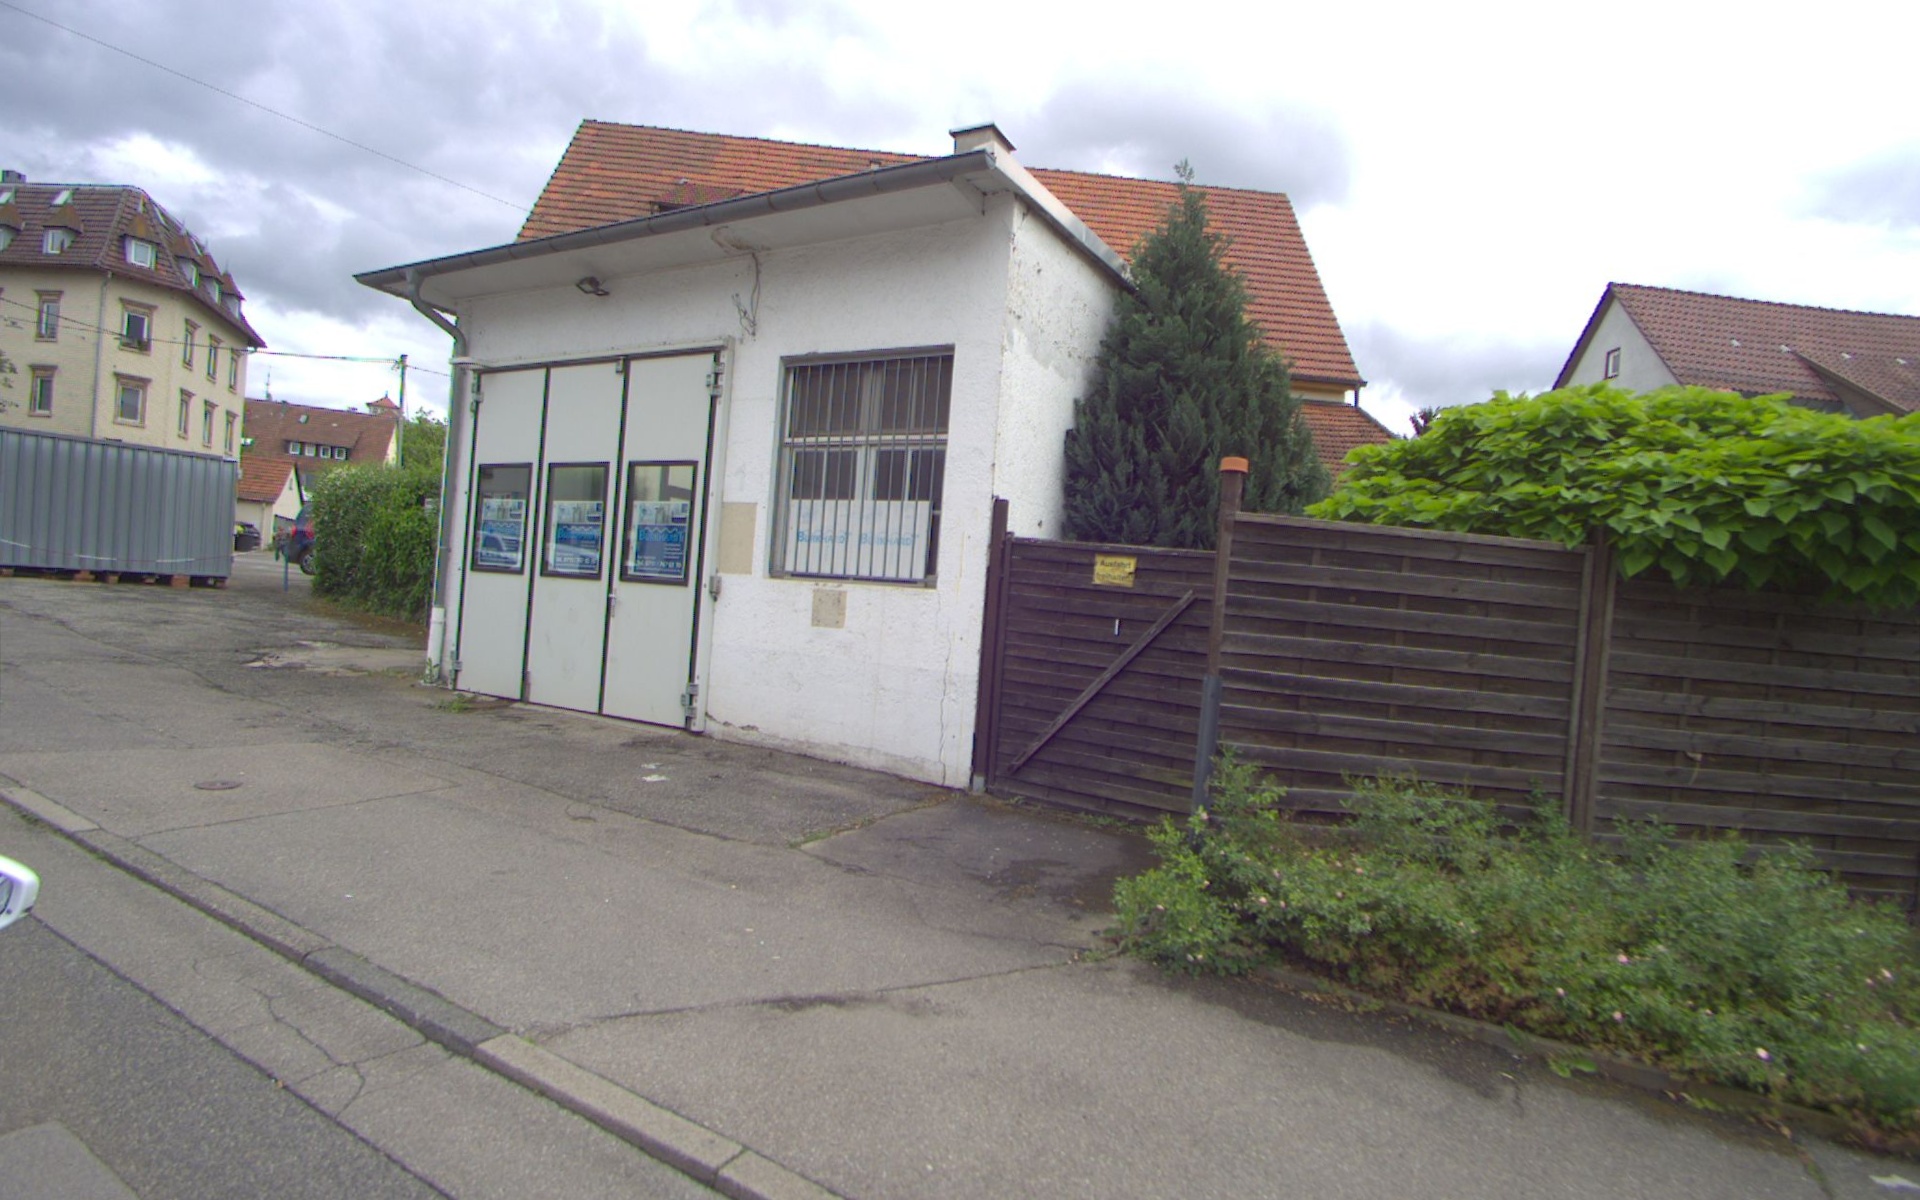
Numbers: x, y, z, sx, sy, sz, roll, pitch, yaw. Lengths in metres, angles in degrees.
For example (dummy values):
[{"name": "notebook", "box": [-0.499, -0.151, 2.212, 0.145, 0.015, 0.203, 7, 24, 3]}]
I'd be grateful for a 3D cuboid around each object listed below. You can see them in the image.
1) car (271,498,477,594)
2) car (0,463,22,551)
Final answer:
[{"name": "car", "box": [-14.778, -1.317, 25.539, 3.928, 1.748, 1.870, 8, -2, -3]}, {"name": "car", "box": [-21.816, -2.157, 21.022, 4.491, 1.763, 1.748, 7, 2, 27]}]
